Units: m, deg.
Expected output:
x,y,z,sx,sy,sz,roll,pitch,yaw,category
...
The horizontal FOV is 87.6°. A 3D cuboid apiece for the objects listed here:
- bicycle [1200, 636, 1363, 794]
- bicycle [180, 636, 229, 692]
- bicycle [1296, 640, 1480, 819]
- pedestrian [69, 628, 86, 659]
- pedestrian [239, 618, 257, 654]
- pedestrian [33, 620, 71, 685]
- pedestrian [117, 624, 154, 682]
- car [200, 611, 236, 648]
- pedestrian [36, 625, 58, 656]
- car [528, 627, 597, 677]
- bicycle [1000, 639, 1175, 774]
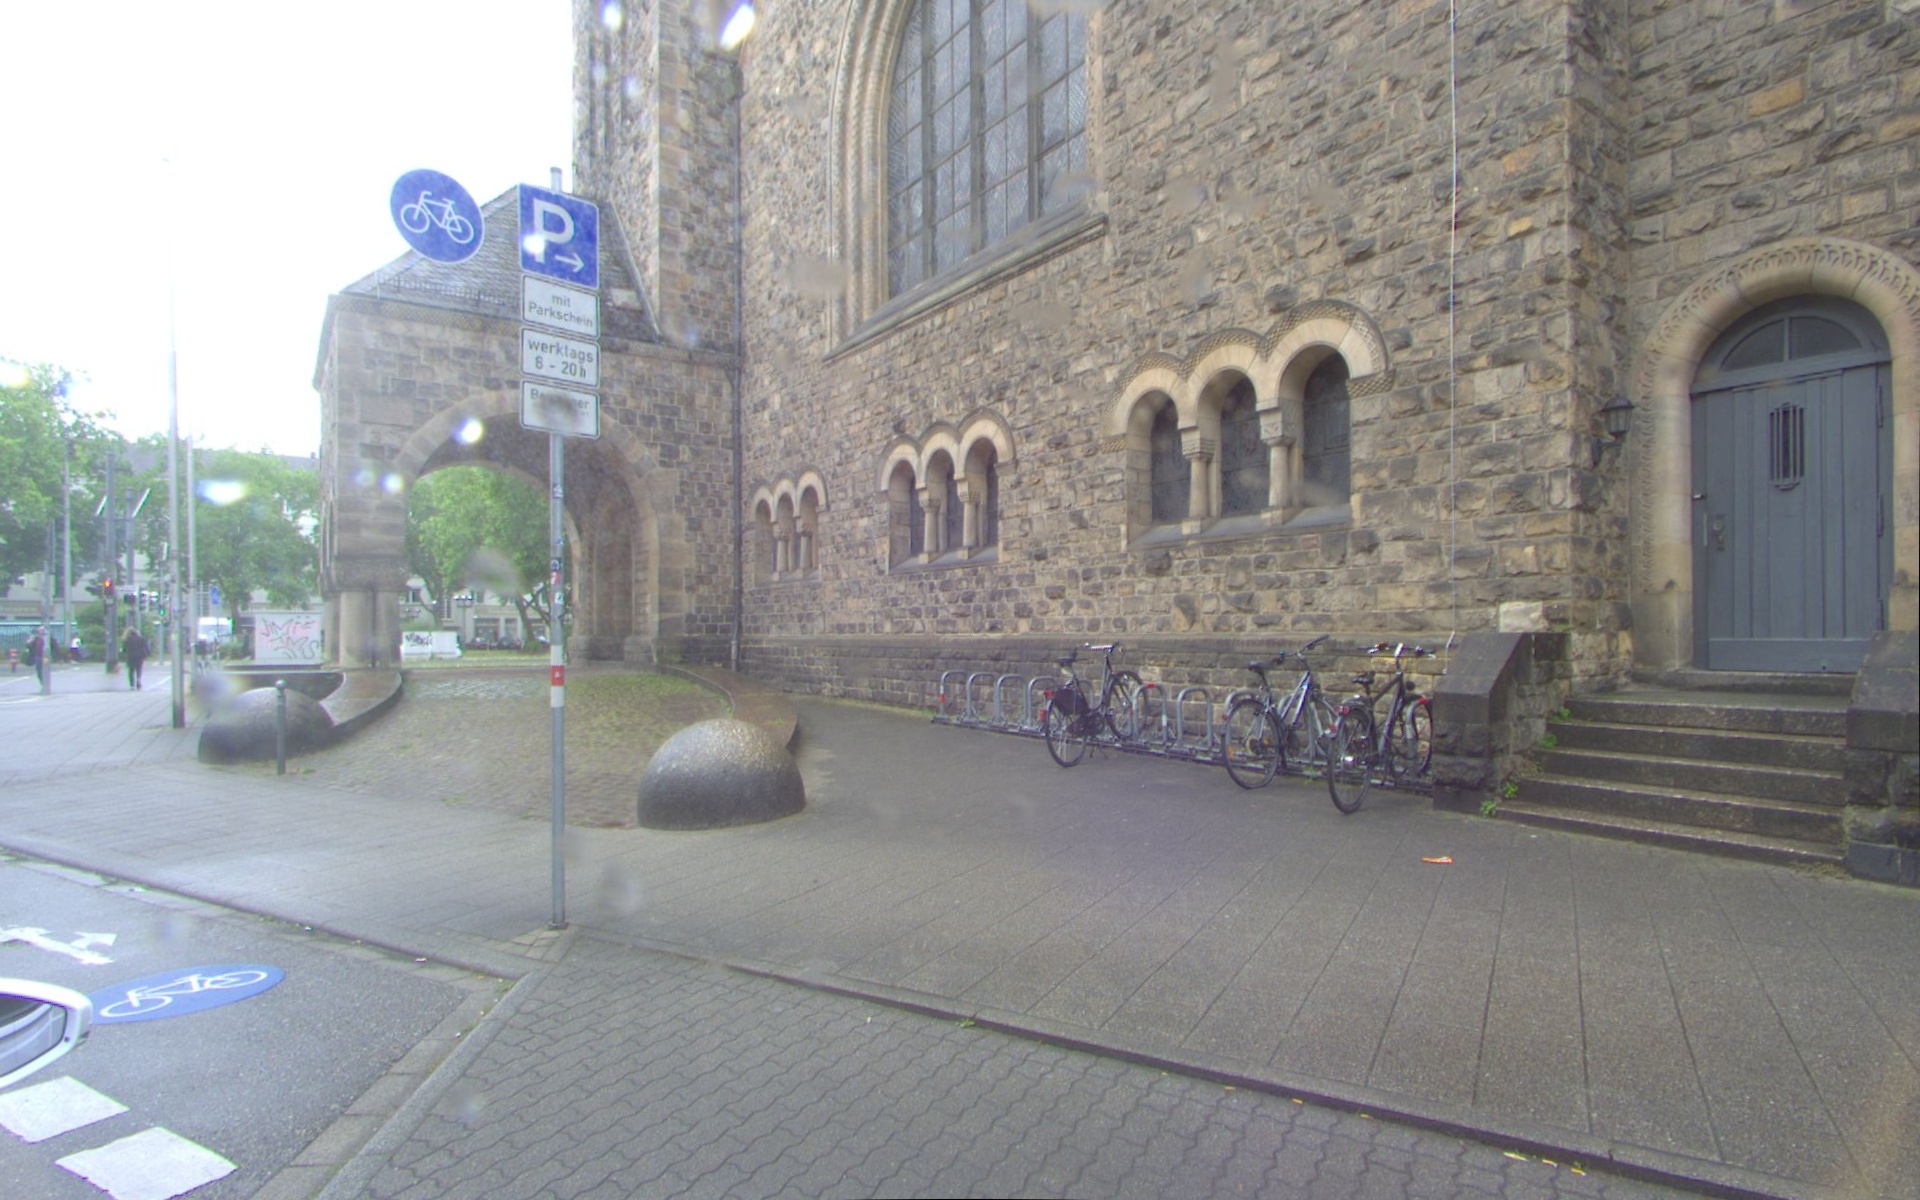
x,y,z,sx,sy,sz,roll,pitch,yaw,category
2.737,0.905,8.422,1.697,1.126,0.556,-2,0,-45,bicycle
-16.610,1.392,21.996,2.049,1.169,0.327,-1,-1,38,bicycle
3.180,0.871,7.331,1.971,1.068,0.507,-2,0,-45,bicycle
-45.963,2.273,52.153,0.607,1.624,0.491,0,-1,-34,pedestrian
-40.701,2.054,57.213,0.797,2.040,0.586,0,-1,-31,pedestrian
-25.467,1.462,28.079,0.780,1.782,0.936,0,0,-43,pedestrian
-24.356,1.550,29.587,0.775,1.667,0.651,0,0,-34,pedestrian
-53.689,2.124,72.515,1.888,2.588,4.757,0,-1,-34,car
-47.547,2.121,52.174,0.666,1.573,0.758,0,-2,-30,pedestrian
-12.645,1.620,31.775,1.389,1.498,3.200,1,-2,-34,car
1.304,0.985,9.900,0.684,1.119,1.973,-1,0,43,bicycle
